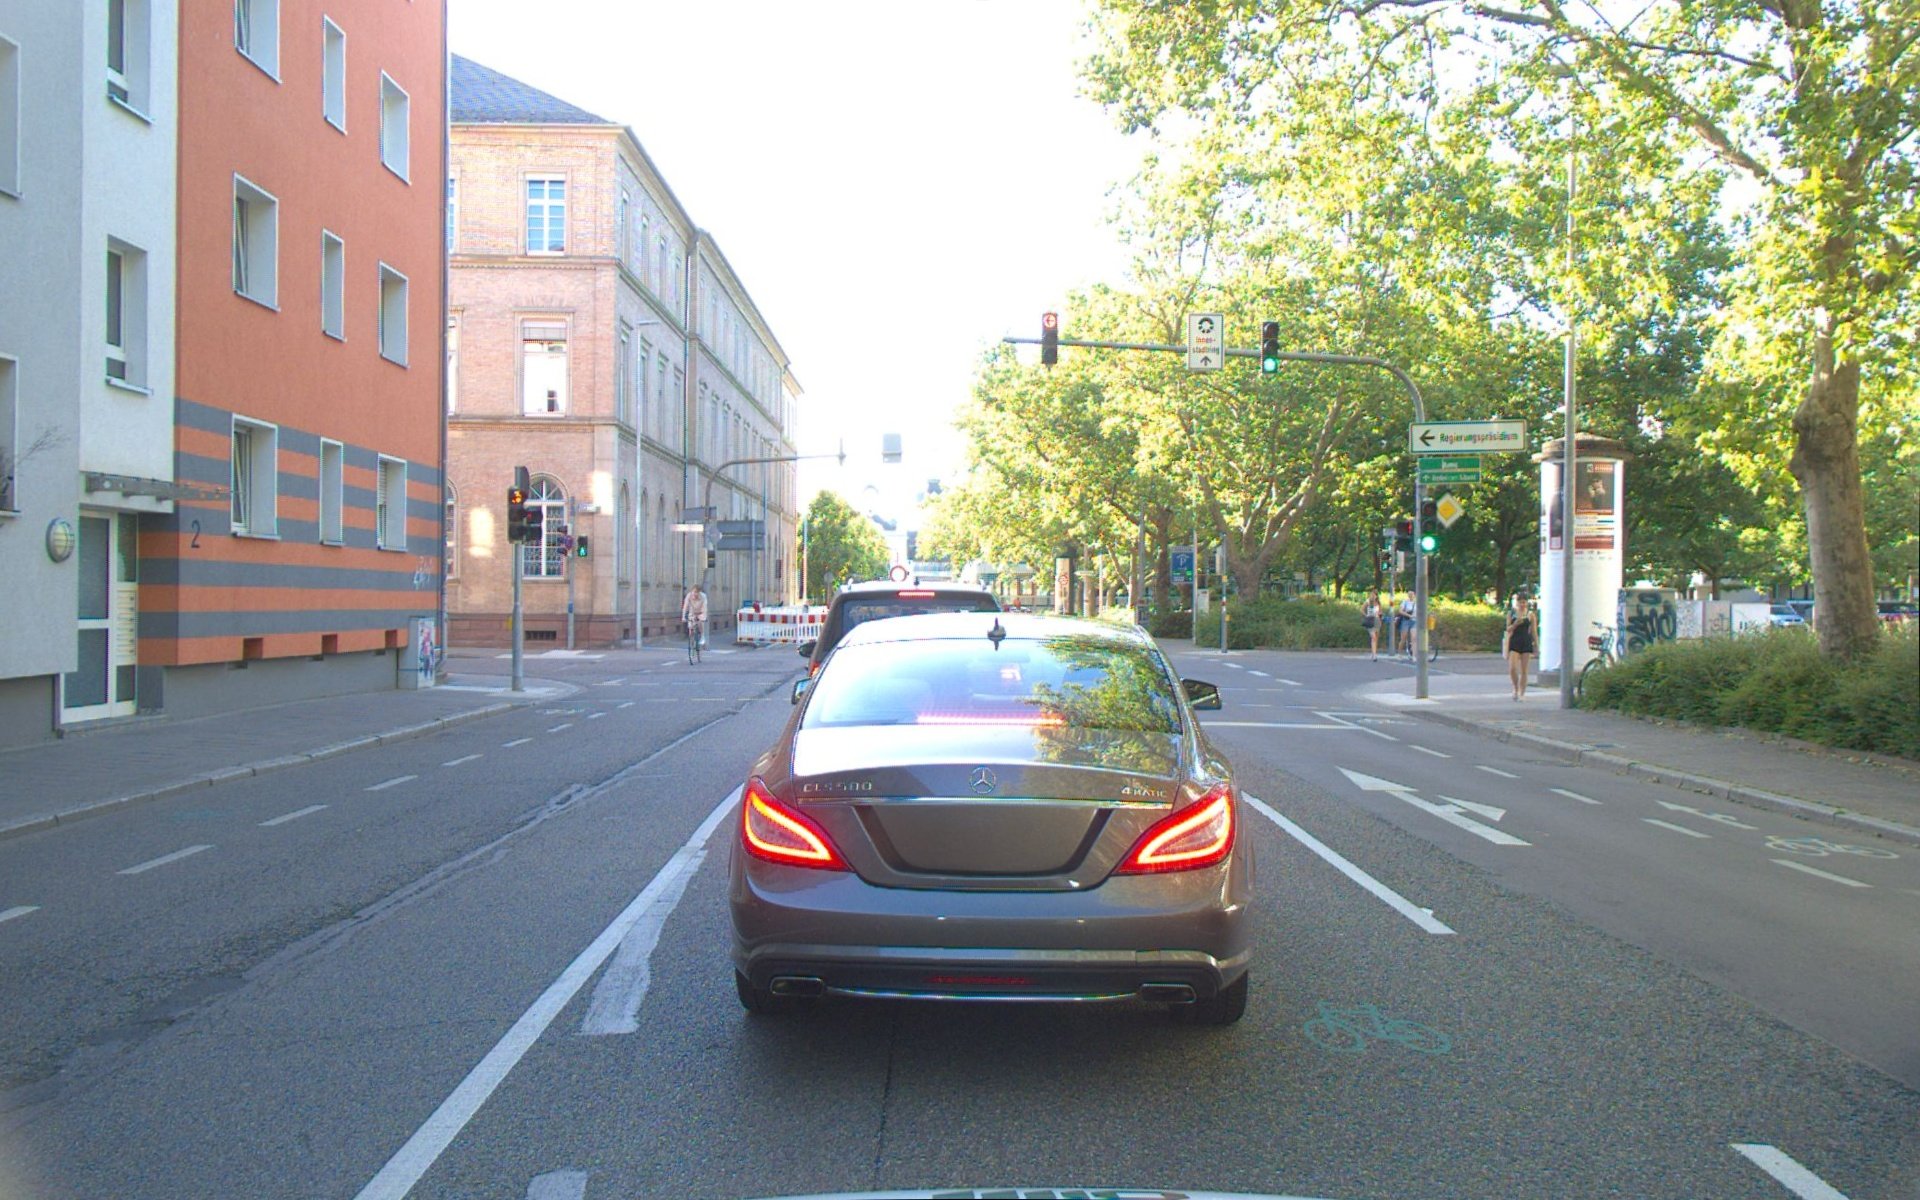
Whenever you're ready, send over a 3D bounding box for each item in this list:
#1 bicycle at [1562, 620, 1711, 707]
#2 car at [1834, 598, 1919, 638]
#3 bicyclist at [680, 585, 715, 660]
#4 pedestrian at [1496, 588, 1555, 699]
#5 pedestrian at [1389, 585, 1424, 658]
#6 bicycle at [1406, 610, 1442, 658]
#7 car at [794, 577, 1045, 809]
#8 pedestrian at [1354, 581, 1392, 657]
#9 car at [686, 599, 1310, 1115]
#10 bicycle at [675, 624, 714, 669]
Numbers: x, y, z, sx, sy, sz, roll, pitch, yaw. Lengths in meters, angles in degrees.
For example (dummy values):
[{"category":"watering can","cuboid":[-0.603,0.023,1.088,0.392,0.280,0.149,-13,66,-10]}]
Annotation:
[{"category":"bicycle","cuboid":[9.703,0.906,23.752,1.936,1.210,0.528,1,-1,-2]},{"category":"car","cuboid":[36.274,0.682,65.139,1.596,1.508,3.794,1,0,-2]},{"category":"bicyclist","cuboid":[-5.669,0.489,35.738,0.635,1.586,0.806,1,-1,-2]},{"category":"pedestrian","cuboid":[8.634,0.656,25.279,0.781,1.659,0.908,-1,-1,16]},{"category":"pedestrian","cuboid":[10.901,0.520,40.377,0.669,1.727,0.971,1,0,6]},{"category":"bicycle","cuboid":[11.298,0.818,40.319,0.513,1.119,1.742,1,0,5]},{"category":"car","cuboid":[-0.261,0.665,13.713,1.772,1.641,4.000,0,0,1]},{"category":"pedestrian","cuboid":[10.089,0.469,40.394,0.717,1.840,0.909,-1,-1,3]},{"category":"car","cuboid":[0.292,0.751,7.085,1.804,1.454,4.520,1,0,5]},{"category":"bicycle","cuboid":[-5.701,0.983,35.580,0.537,0.906,1.867,1,0,-1]}]
